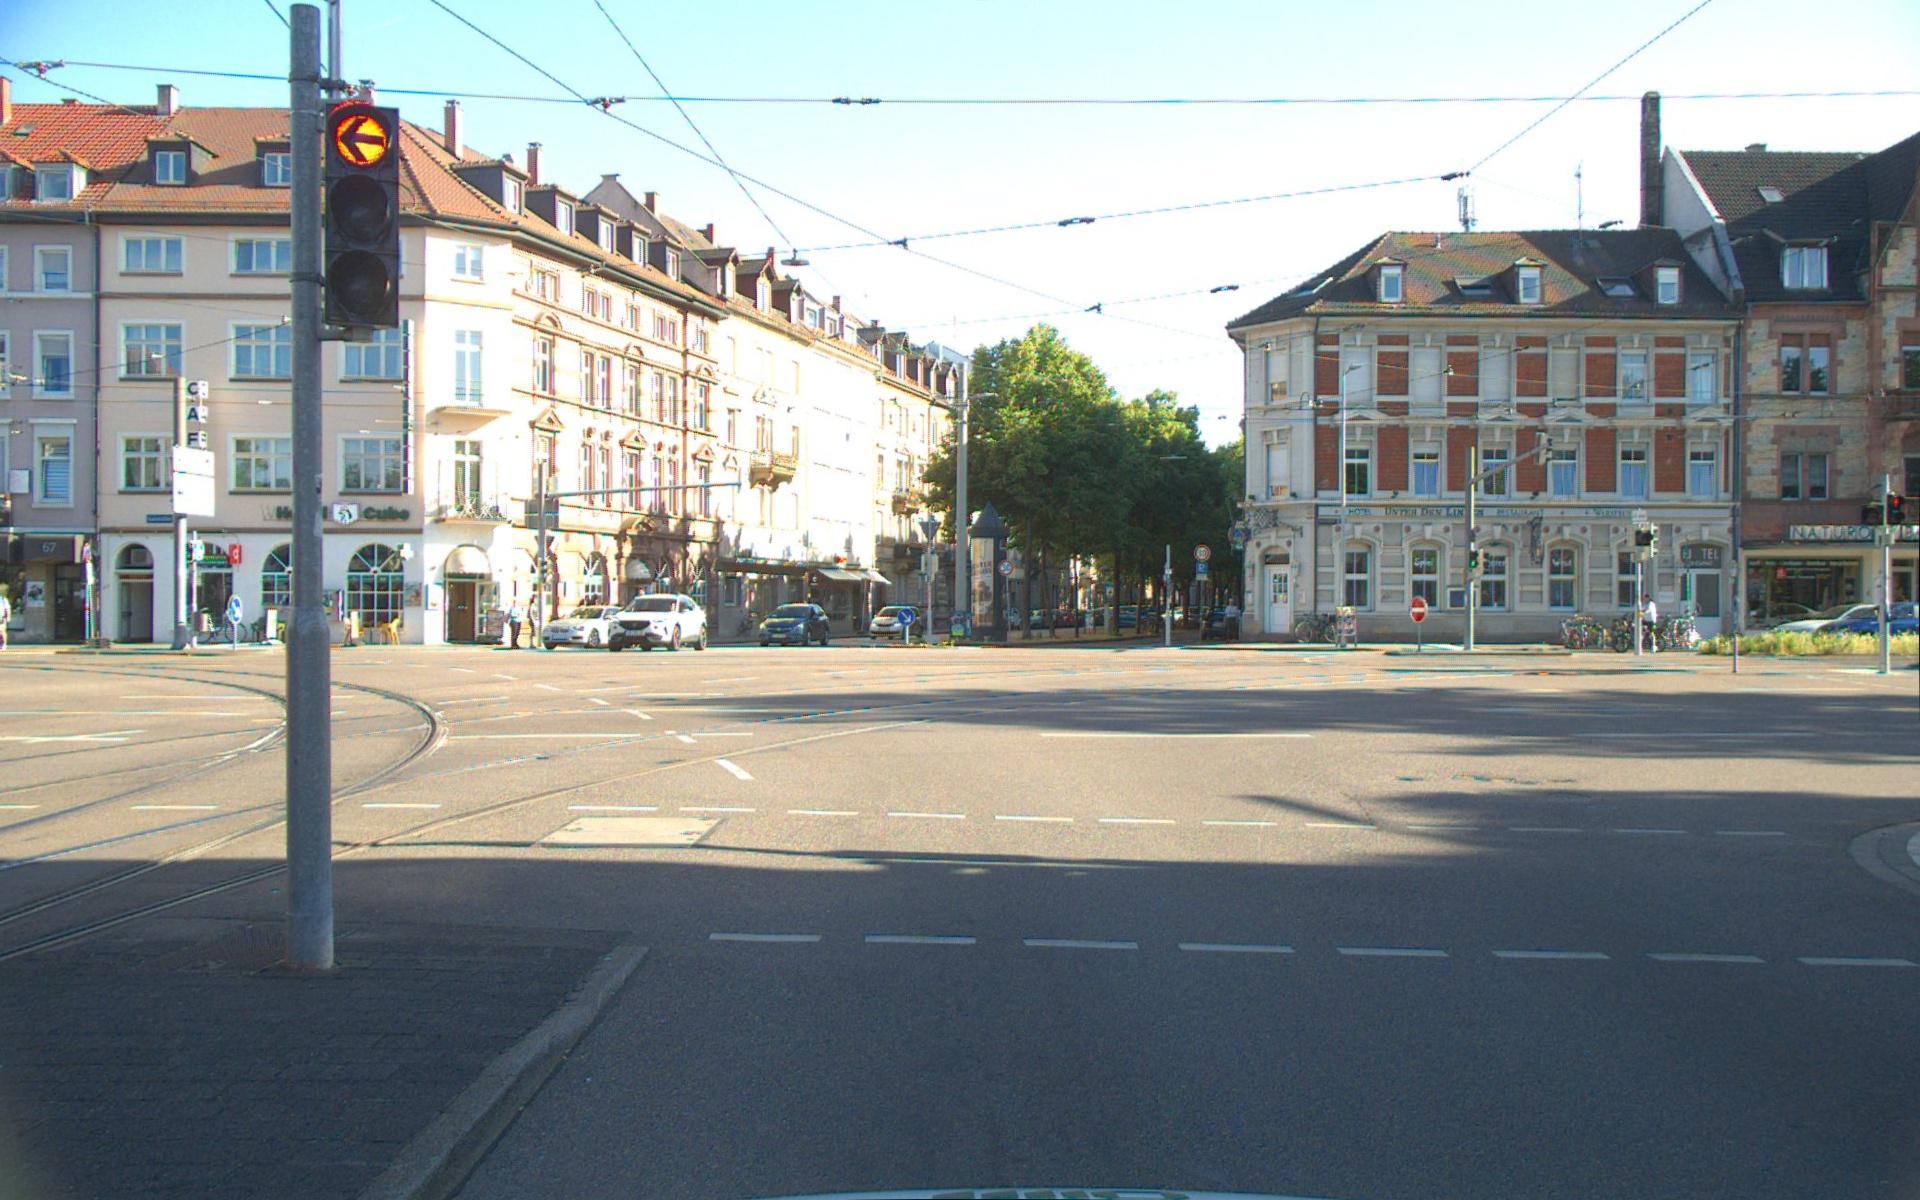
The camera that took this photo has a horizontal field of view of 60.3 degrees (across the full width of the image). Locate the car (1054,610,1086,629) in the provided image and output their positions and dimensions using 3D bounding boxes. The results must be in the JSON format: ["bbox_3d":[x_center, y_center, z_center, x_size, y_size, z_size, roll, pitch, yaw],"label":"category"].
[{"bbox_3d":[9.119,1.610,136.641,1.951,1.523,4.037,0,0,13],"label":"car"}]

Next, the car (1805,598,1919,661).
[{"bbox_3d":[25.915,0.799,45.943,3.906,1.697,1.954,0,0,-2],"label":"car"}]

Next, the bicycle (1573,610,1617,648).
[{"bbox_3d":[20.521,0.927,53.480,0.663,1.211,1.967,0,0,0],"label":"bicycle"}]

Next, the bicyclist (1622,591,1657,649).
[{"bbox_3d":[21.045,0.611,51.234,0.854,1.795,0.602,0,0,2],"label":"bicyclist"}]

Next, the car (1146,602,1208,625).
[{"bbox_3d":[15.298,0.951,116.722,3.913,1.572,1.996,0,0,30],"label":"car"}]

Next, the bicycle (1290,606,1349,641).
[{"bbox_3d":[12.459,0.803,57.348,1.919,1.211,0.546,0,0,4],"label":"bicycle"}]

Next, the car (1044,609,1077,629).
[{"bbox_3d":[8.040,1.495,131.889,1.951,1.523,4.037,0,0,13],"label":"car"}]

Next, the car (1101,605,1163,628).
[{"bbox_3d":[12.037,1.143,115.824,3.910,1.572,1.998,0,0,28],"label":"car"}]

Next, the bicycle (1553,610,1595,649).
[{"bbox_3d":[19.833,0.931,53.444,0.663,1.211,1.967,0,0,0],"label":"bicycle"}]

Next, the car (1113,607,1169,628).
[{"bbox_3d":[14.075,1.322,128.493,3.910,1.572,1.998,0,0,28],"label":"car"}]

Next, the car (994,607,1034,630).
[{"bbox_3d":[3.708,1.228,112.906,1.951,1.523,4.037,0,0,13],"label":"car"}]

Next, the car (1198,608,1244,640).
[{"bbox_3d":[13.075,1.164,82.591,1.951,1.523,4.037,0,0,13],"label":"car"}]

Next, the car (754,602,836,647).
[{"bbox_3d":[-5.835,0.850,58.956,1.736,1.523,4.577,0,0,10],"label":"car"}]

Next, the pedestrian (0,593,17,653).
[{"bbox_3d":[-26.664,0.622,45.934,0.715,1.655,0.667,0,0,-21],"label":"pedestrian"}]

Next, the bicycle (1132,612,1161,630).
[{"bbox_3d":[11.189,1.267,99.412,0.577,1.086,1.924,0,0,-37],"label":"bicycle"}]

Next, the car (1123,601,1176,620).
[{"bbox_3d":[15.435,0.849,134.670,3.910,1.572,1.998,0,0,28],"label":"car"}]

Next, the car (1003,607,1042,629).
[{"bbox_3d":[4.454,1.260,117.403,1.951,1.523,4.037,0,0,13],"label":"car"}]

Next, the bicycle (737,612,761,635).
[{"bbox_3d":[-10.130,1.125,79.377,0.484,1.086,1.771,0,0,15],"label":"bicycle"}]

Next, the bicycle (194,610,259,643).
[{"bbox_3d":[-24.898,0.894,56.162,1.906,1.086,0.582,0,0,-8],"label":"bicycle"}]

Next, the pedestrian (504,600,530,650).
[{"bbox_3d":[-14.923,0.829,55.723,0.661,1.670,0.579,0,0,13],"label":"pedestrian"}]

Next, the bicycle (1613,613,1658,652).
[{"bbox_3d":[21.822,1.032,53.493,0.663,1.211,1.967,0,0,0],"label":"bicycle"}]

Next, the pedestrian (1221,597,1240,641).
[{"bbox_3d":[10.707,0.739,65.356,0.700,1.698,0.940,0,0,11],"label":"pedestrian"}]

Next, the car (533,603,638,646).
[{"bbox_3d":[-12.429,0.787,55.105,1.951,1.379,4.226,0,0,9],"label":"car"}]

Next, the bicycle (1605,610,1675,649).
[{"bbox_3d":[21.062,0.907,51.232,1.920,1.211,0.602,0,0,2],"label":"bicycle"}]

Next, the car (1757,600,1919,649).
[{"bbox_3d":[25.967,0.710,48.939,3.906,1.437,1.845,0,0,-2],"label":"car"}]

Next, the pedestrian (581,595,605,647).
[{"bbox_3d":[-13.730,0.788,61.857,0.667,1.942,0.633,0,0,15],"label":"pedestrian"}]

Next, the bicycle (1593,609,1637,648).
[{"bbox_3d":[21.160,0.909,53.491,0.663,1.211,1.967,0,0,0],"label":"bicycle"}]

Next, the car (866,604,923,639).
[{"bbox_3d":[-2.920,0.942,74.568,1.681,1.523,3.586,0,0,13],"label":"car"}]

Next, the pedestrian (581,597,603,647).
[{"bbox_3d":[-13.776,0.819,61.963,0.567,1.868,0.633,0,0,15],"label":"pedestrian"}]

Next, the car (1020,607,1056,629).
[{"bbox_3d":[5.800,1.309,122.659,1.951,1.523,4.037,0,0,13],"label":"car"}]

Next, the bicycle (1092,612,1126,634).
[{"bbox_3d":[7.469,1.159,82.848,0.577,1.086,1.924,0,0,-37],"label":"bicycle"}]

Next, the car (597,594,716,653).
[{"bbox_3d":[-8.071,0.591,44.384,1.951,1.523,4.350,0,0,7],"label":"car"}]

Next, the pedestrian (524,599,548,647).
[{"bbox_3d":[-14.596,0.785,56.978,0.617,1.670,0.553,0,0,13],"label":"pedestrian"}]

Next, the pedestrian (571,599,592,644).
[{"bbox_3d":[-14.293,0.814,62.395,0.625,1.670,0.546,0,0,-32],"label":"pedestrian"}]

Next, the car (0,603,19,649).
[{"bbox_3d":[-32.478,0.820,52.144,4.547,1.465,1.743,0,-1,-4],"label":"car"}]

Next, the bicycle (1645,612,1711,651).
[{"bbox_3d":[23.043,1.006,53.113,1.926,1.211,0.677,0,0,-13],"label":"bicycle"}]
